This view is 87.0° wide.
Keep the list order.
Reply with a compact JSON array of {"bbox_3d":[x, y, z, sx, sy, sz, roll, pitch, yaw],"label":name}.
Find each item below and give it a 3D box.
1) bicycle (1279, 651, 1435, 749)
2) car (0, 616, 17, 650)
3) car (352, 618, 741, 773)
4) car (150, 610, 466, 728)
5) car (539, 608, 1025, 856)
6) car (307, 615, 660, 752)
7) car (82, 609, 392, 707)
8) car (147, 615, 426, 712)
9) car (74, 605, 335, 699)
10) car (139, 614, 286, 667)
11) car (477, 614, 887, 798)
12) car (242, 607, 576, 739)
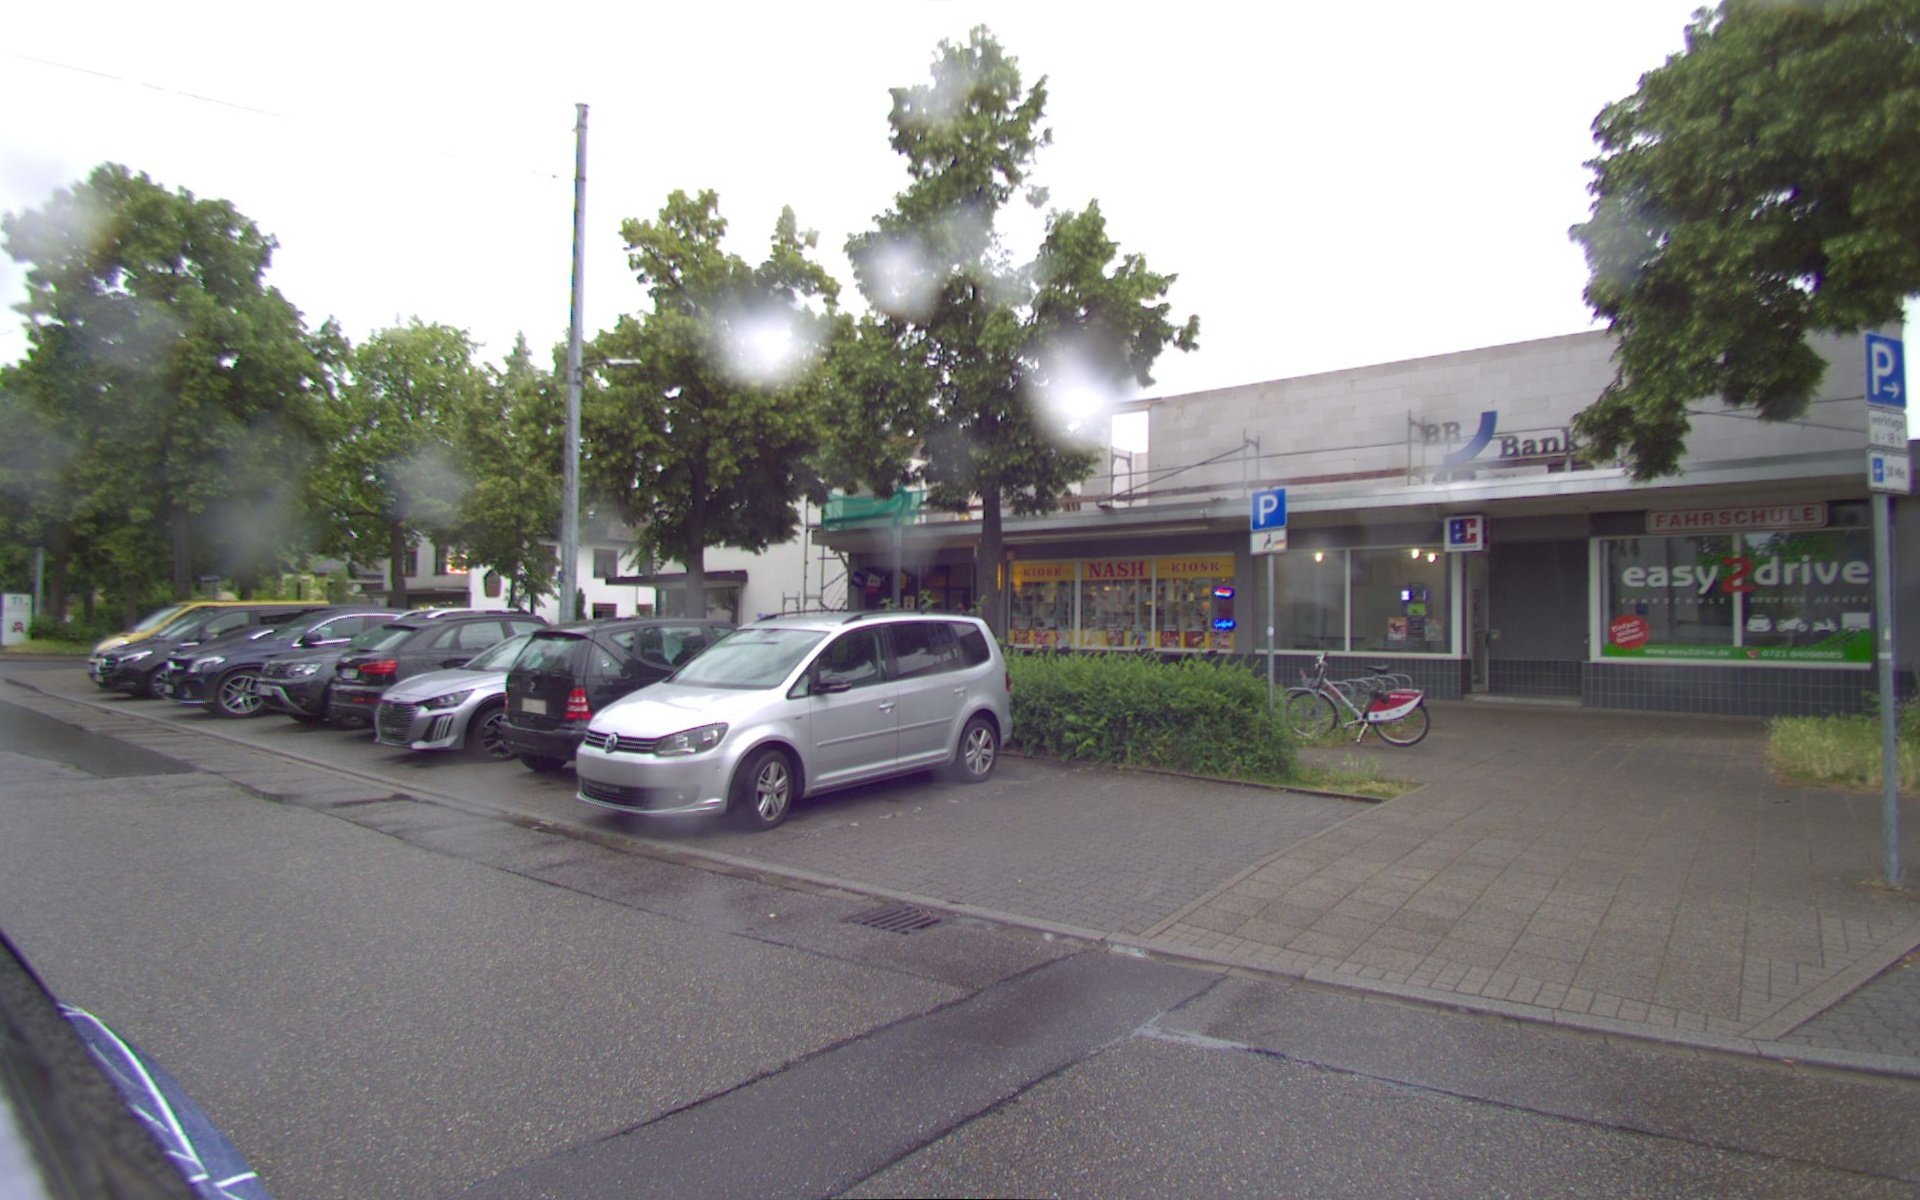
[{"bbox_3d":[4.820,1.194,12.347,1.739,1.115,0.316,-1,0,25],"label":"bicycle"},{"bbox_3d":[-49.737,1.668,50.276,1.997,1.698,3.950,-1,0,37],"label":"car"},{"bbox_3d":[-4.936,1.021,12.615,1.713,1.544,4.231,-1,-1,38],"label":"car"},{"bbox_3d":[-10.965,1.049,17.295,1.713,1.740,4.231,-1,-1,38],"label":"car"},{"bbox_3d":[-1.308,0.905,9.005,1.713,1.647,4.231,-1,-1,38],"label":"car"},{"bbox_3d":[-6.557,1.028,14.353,1.713,1.607,4.231,-1,-1,38],"label":"car"},{"bbox_3d":[-15.134,1.117,21.517,1.713,1.813,5.114,-1,-1,38],"label":"car"},{"bbox_3d":[-12.978,1.137,19.750,1.713,1.639,4.231,-1,-1,38],"label":"car"},{"bbox_3d":[-17.430,1.112,23.574,1.713,1.973,4.600,-1,-1,38],"label":"car"},{"bbox_3d":[-26.408,1.384,35.820,1.841,1.700,3.943,-1,0,43],"label":"car"},{"bbox_3d":[-2.828,0.974,11.148,1.633,1.577,4.231,-1,0,38],"label":"car"},{"bbox_3d":[-8.331,0.984,15.649,1.713,1.740,4.231,-1,-1,38],"label":"car"}]
